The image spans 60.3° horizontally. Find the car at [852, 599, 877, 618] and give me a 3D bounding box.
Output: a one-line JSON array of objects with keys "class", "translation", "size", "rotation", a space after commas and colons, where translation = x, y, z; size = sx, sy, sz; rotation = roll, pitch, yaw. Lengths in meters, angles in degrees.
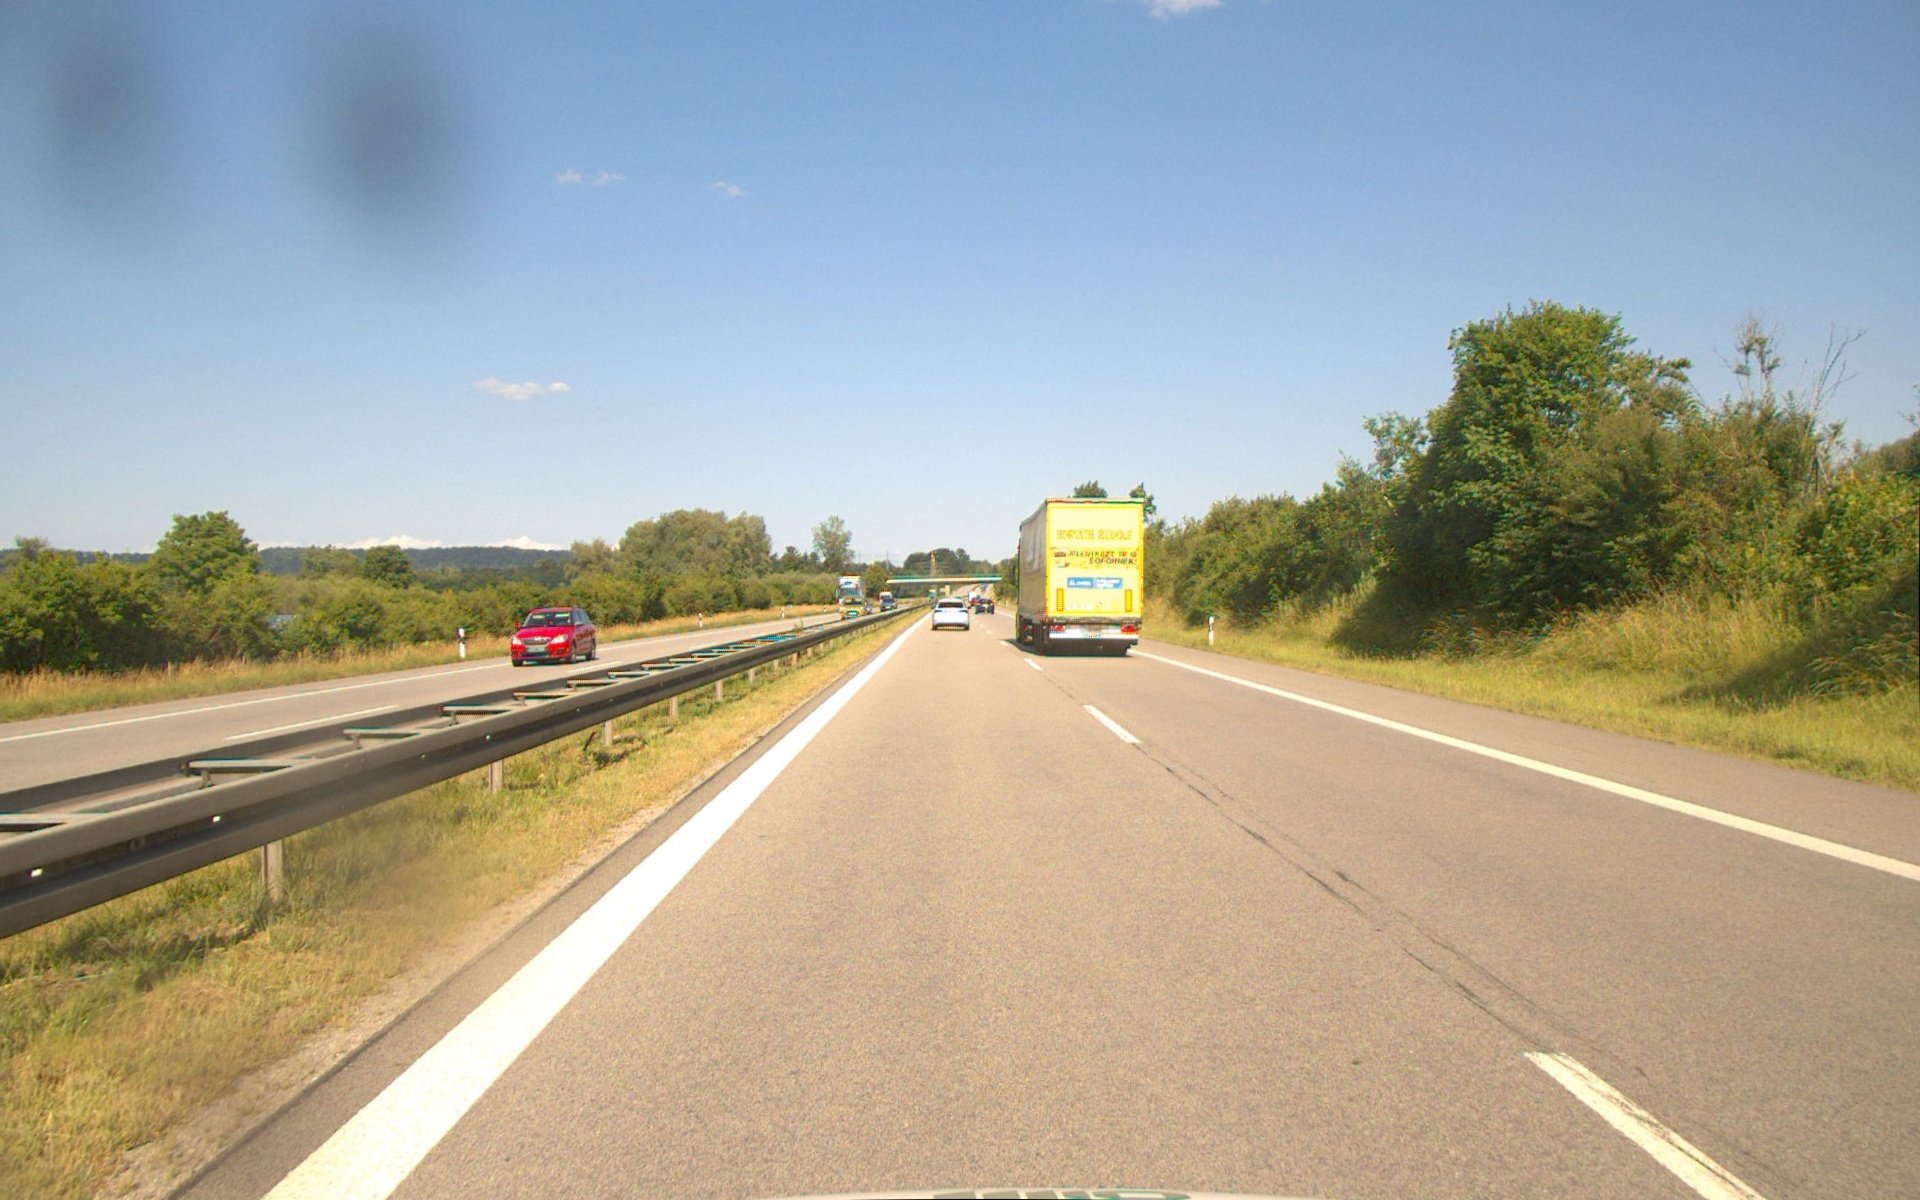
[{"class": "car", "translation": [-8.024, 0.685, 139.143], "size": [1.731, 1.444, 4.470], "rotation": [-4, 0, 1]}]

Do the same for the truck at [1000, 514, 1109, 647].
[{"class": "truck", "translation": [3.092, -0.623, 55.905], "size": [3.105, 4.186, 6.386], "rotation": [1, 0, -2]}]

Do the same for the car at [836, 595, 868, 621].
[{"class": "car", "translation": [-8.013, 0.599, 123.316], "size": [1.910, 1.802, 4.749], "rotation": [-4, 0, 1]}]

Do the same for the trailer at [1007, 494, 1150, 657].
[{"class": "trailer", "translation": [3.227, -0.616, 48.988], "size": [3.120, 4.130, 13.184], "rotation": [1, 0, -1]}]

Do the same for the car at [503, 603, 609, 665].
[{"class": "car", "translation": [-10.895, 0.886, 44.907], "size": [1.695, 1.537, 4.480], "rotation": [-2, 0, 0]}]

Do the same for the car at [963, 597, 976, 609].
[{"class": "car", "translation": [1.458, 0.491, 262.350], "size": [1.863, 1.712, 4.730], "rotation": [2, 0, -1]}]

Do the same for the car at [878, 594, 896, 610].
[{"class": "car", "translation": [-8.121, 0.221, 184.809], "size": [1.690, 1.610, 4.767], "rotation": [-3, 0, 0]}]

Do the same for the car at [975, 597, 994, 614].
[{"class": "car", "translation": [2.333, 0.523, 158.839], "size": [1.805, 1.546, 4.000], "rotation": [1, 0, 0]}]

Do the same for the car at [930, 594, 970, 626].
[{"class": "car", "translation": [-0.464, 0.446, 77.837], "size": [1.805, 1.440, 4.000], "rotation": [1, 0, 0]}]

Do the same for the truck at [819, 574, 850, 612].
[{"class": "truck", "translation": [-14.501, -0.807, 191.912], "size": [3.105, 4.185, 6.386], "rotation": [-2, 0, -2]}]
